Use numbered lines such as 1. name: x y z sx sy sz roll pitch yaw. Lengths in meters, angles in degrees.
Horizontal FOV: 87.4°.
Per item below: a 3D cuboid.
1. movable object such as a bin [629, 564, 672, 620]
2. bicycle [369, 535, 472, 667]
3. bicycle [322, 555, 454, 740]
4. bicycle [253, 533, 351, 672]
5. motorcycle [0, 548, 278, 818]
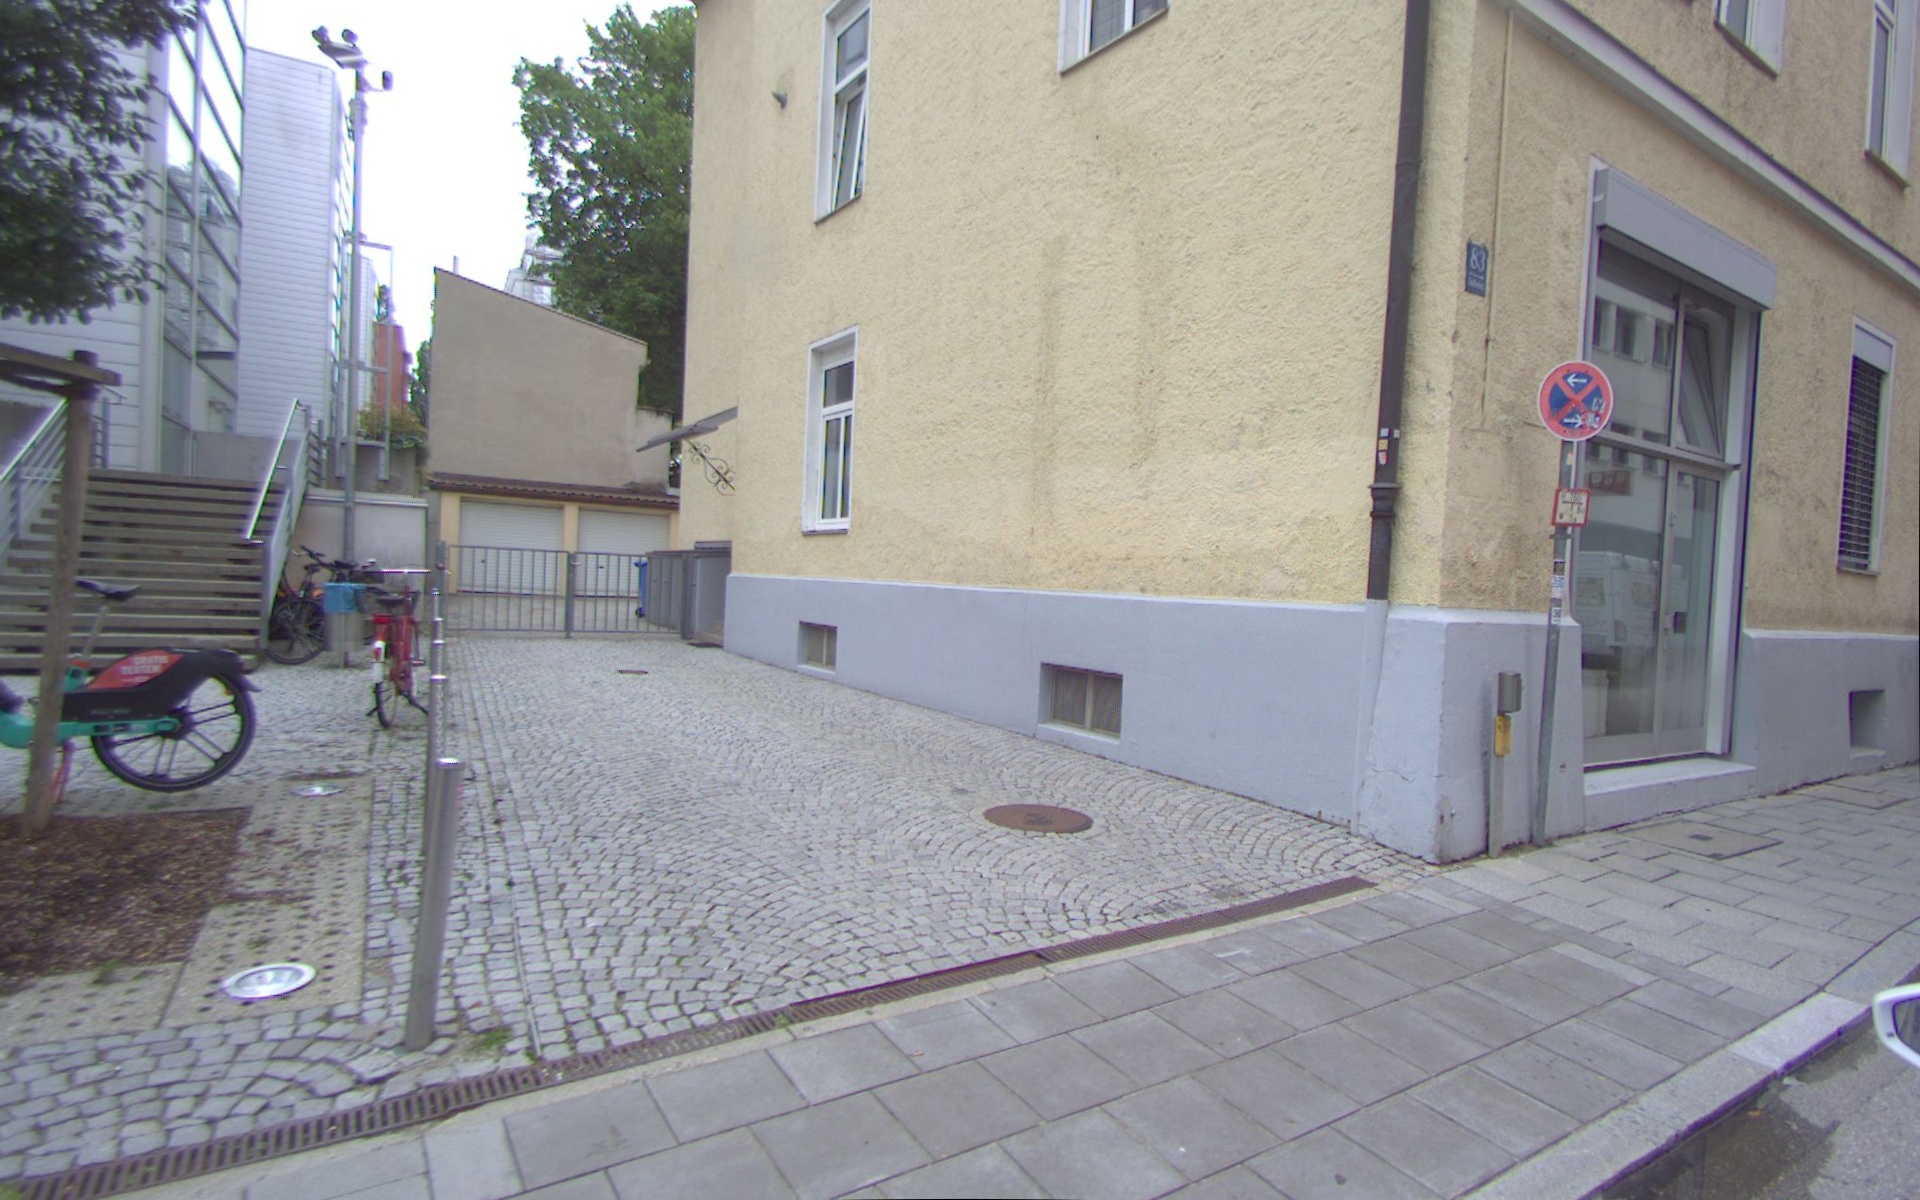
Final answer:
1. movable object such as a bin: -5.779 -0.147 18.729 0.641 0.984 0.475 2 3 -30
2. bicycle: -6.093 -0.058 11.250 0.759 1.268 2.835 2 3 -33
3. bicycle: -4.343 0.293 7.679 0.738 1.188 1.965 2 2 -29
4. bicycle: -7.128 -0.052 10.922 0.759 1.268 3.204 2 3 -33
5. motorcycle: -4.425 0.362 4.695 1.956 1.188 0.573 3 2 -29
